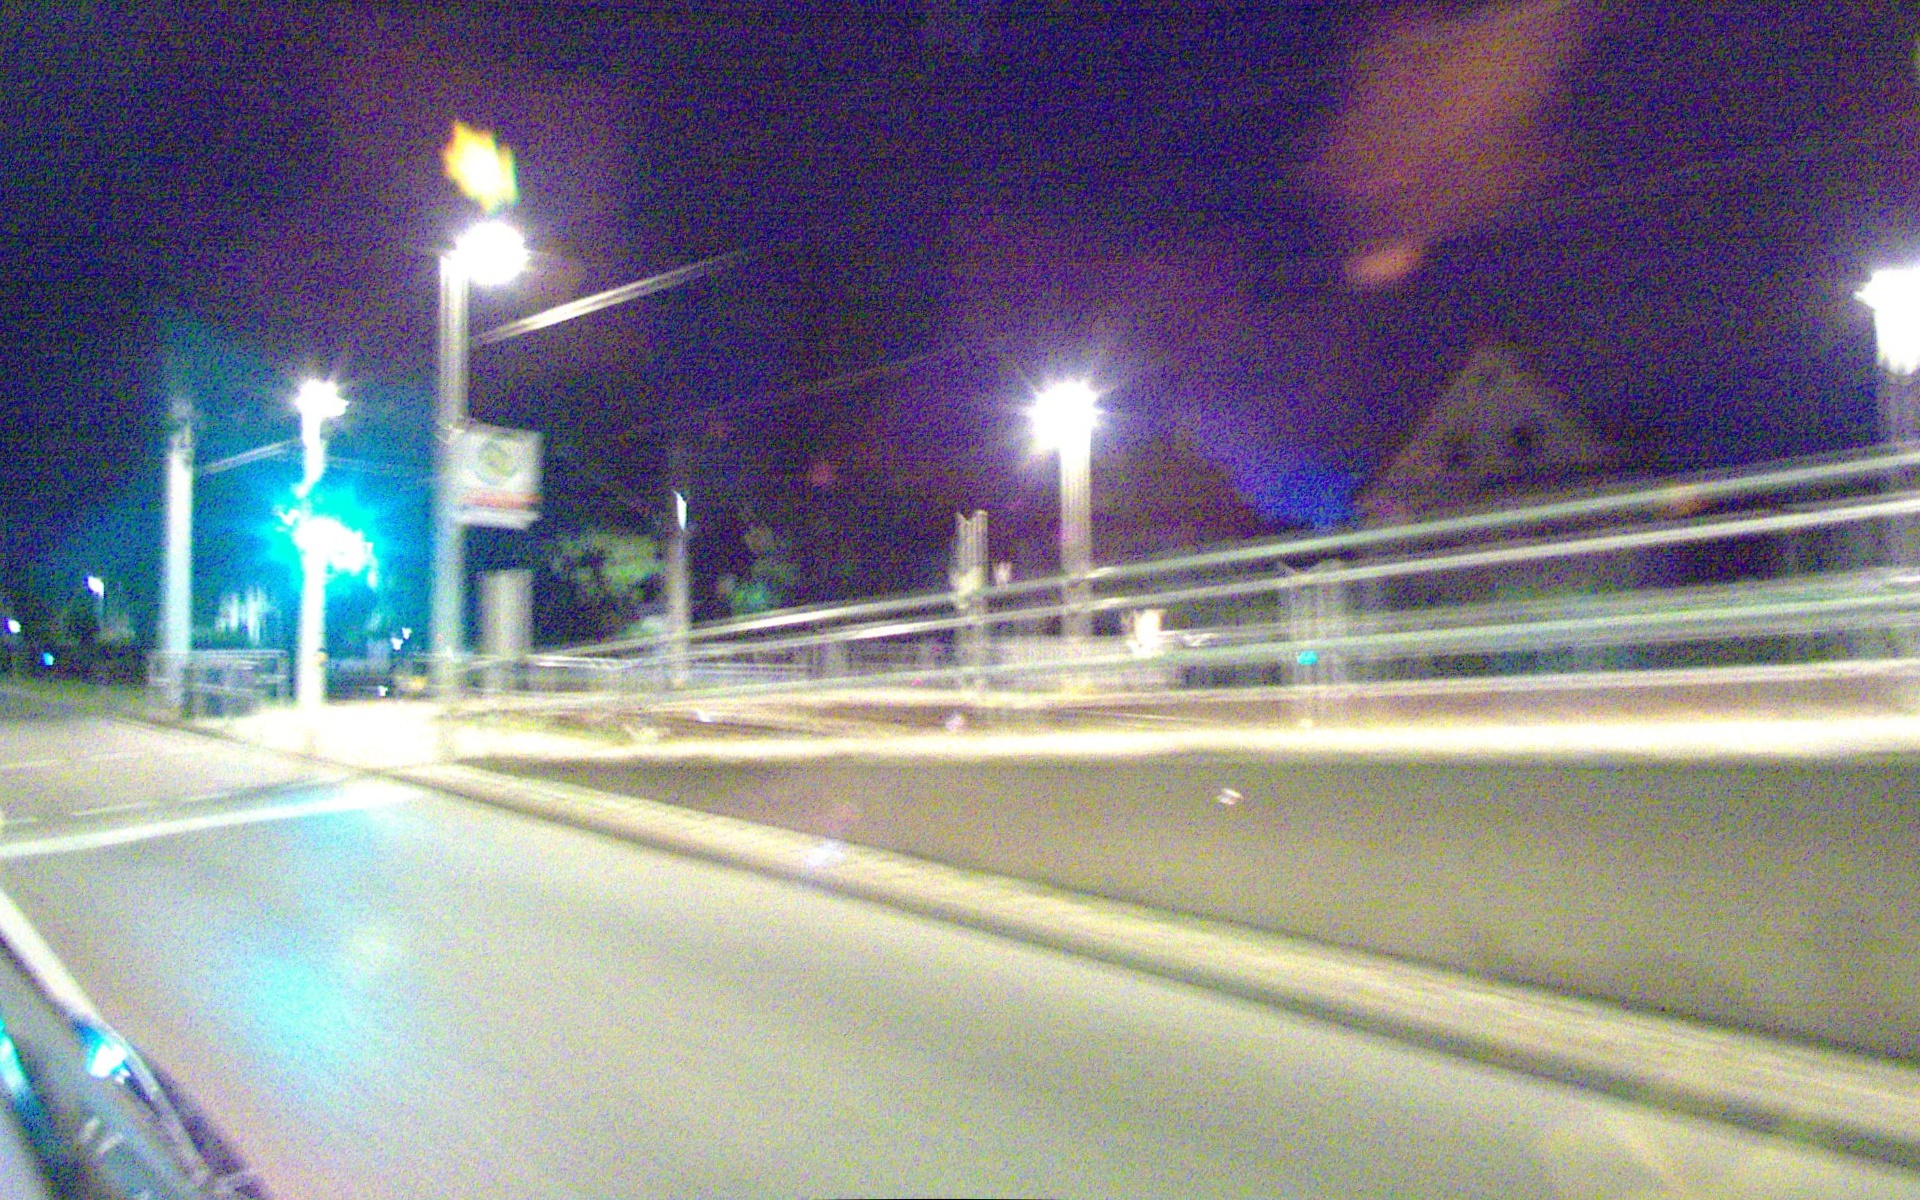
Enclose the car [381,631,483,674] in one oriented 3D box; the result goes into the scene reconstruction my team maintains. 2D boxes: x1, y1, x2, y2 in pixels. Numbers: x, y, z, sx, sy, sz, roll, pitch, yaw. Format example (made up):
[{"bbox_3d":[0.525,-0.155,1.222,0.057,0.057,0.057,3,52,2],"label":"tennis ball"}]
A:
[{"bbox_3d":[-19.854,1.957,37.993,4.089,1.516,1.848,-2,-3,38],"label":"car"}]
